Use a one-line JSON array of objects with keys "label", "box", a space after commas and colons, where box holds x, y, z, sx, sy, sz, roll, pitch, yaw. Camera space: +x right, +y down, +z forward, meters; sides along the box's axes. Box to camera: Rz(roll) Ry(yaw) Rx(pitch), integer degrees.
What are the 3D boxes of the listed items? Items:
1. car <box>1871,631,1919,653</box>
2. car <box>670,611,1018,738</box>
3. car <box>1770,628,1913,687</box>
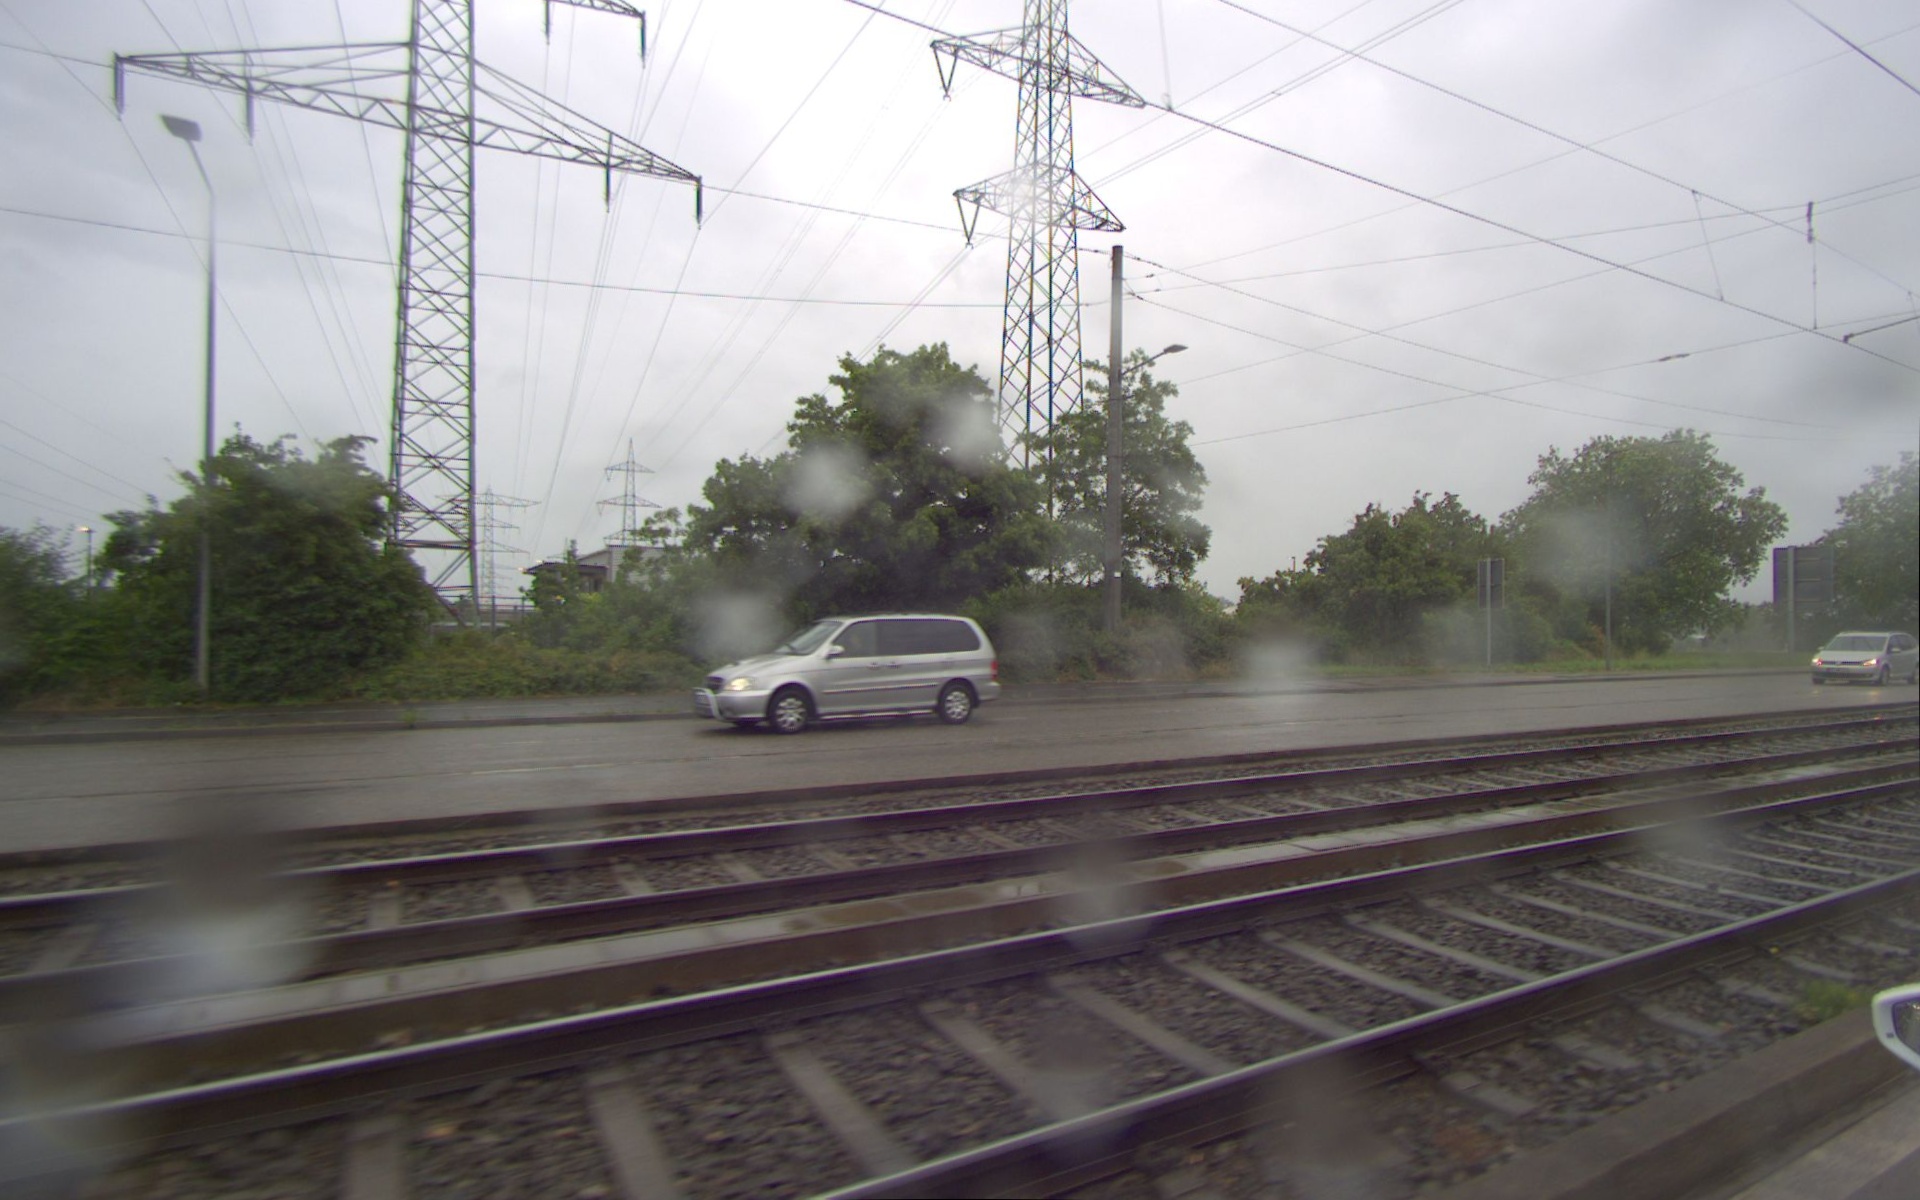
[{"label": "car", "box": [83.322, 3.674, 88.941, 1.810, 1.709, 4.652, 1, 1, 13]}, {"label": "car", "box": [-1.711, 1.028, 15.548, 5.077, 1.657, 1.816, 0, 1, -31]}, {"label": "car", "box": [27.101, 1.702, 30.847, 5.007, 1.595, 1.833, 0, 1, -31]}]
